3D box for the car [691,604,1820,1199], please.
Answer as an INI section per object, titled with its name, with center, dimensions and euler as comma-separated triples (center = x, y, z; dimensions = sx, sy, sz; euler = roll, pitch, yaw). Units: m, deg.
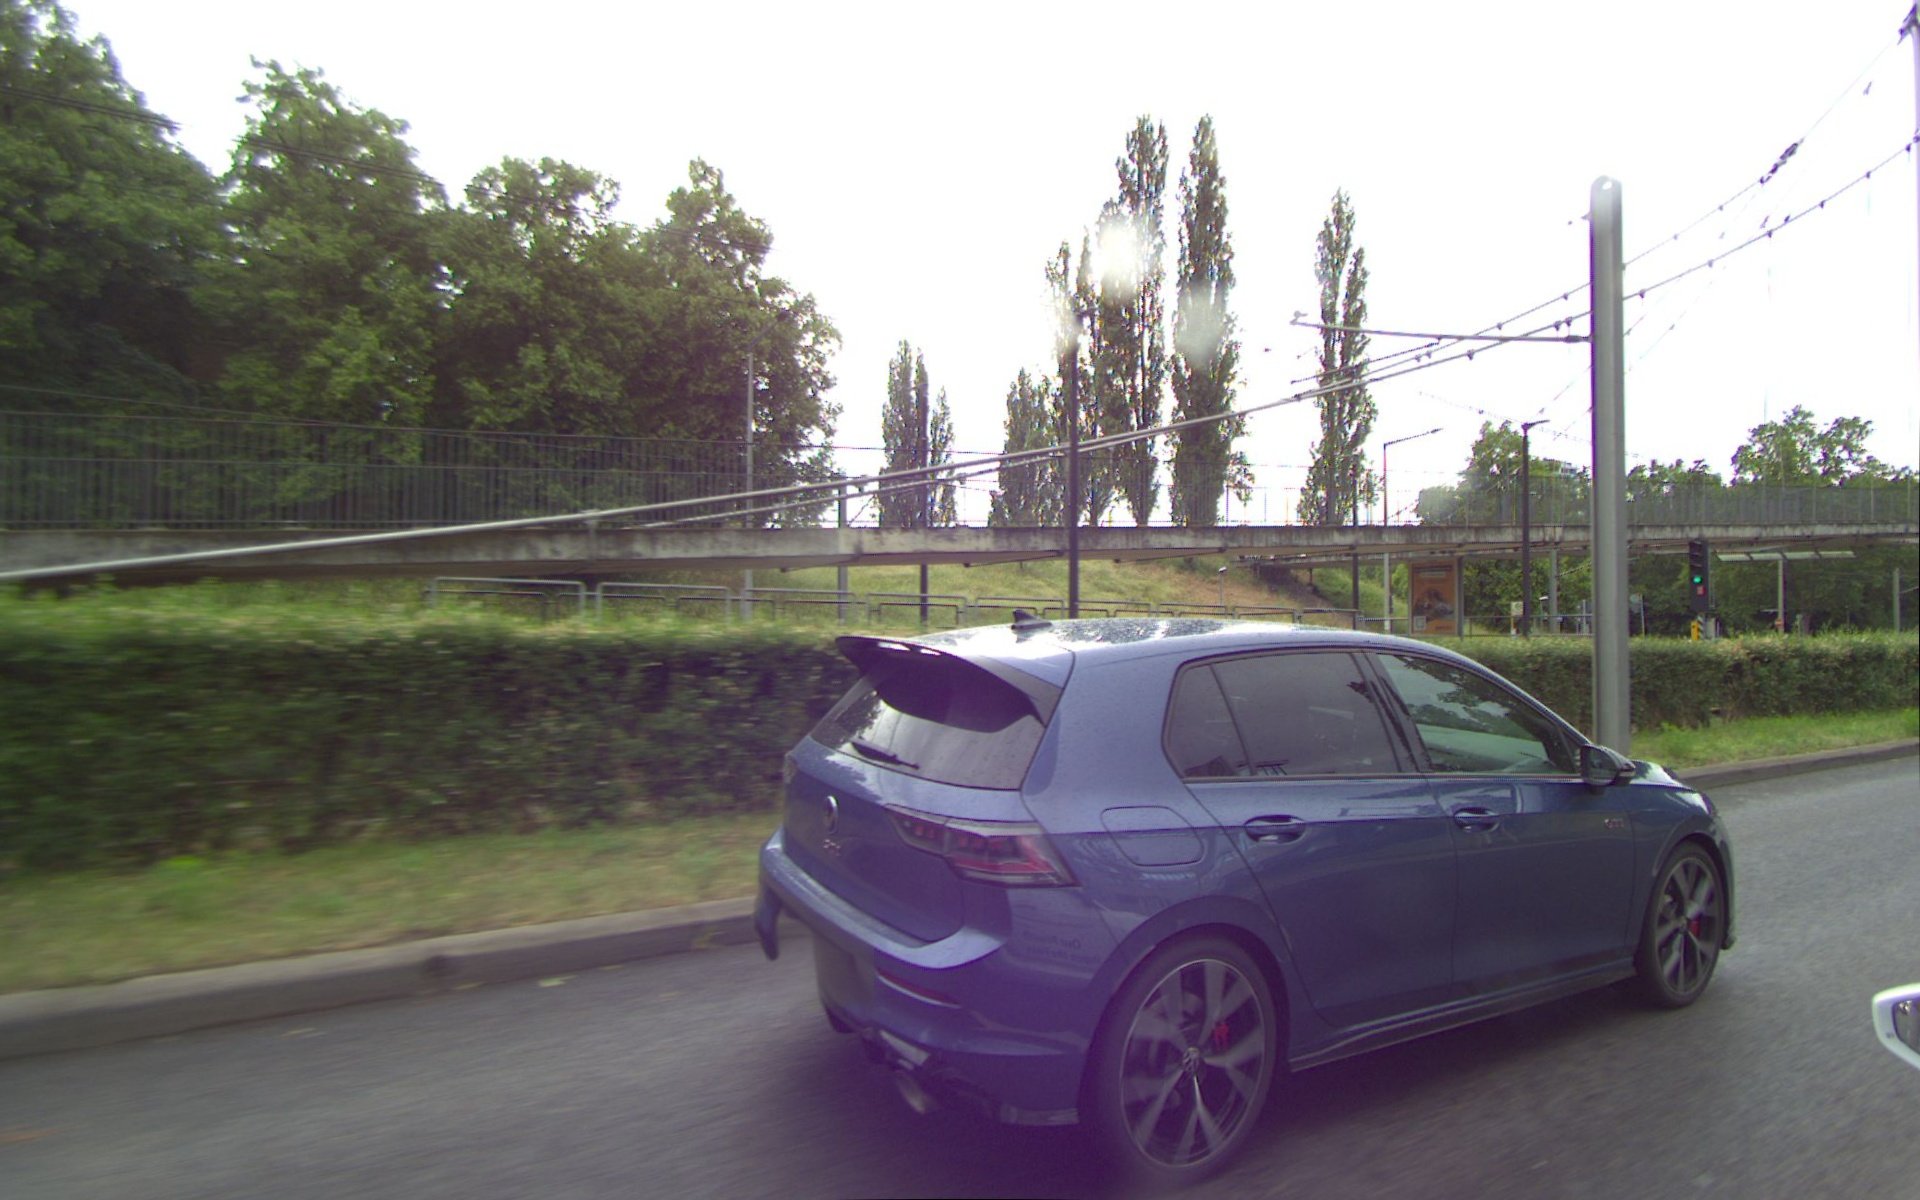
[car]
center = 1.334, 0.782, 3.951
dimensions = 4.296, 1.397, 1.799
euler = 2, -1, -30
